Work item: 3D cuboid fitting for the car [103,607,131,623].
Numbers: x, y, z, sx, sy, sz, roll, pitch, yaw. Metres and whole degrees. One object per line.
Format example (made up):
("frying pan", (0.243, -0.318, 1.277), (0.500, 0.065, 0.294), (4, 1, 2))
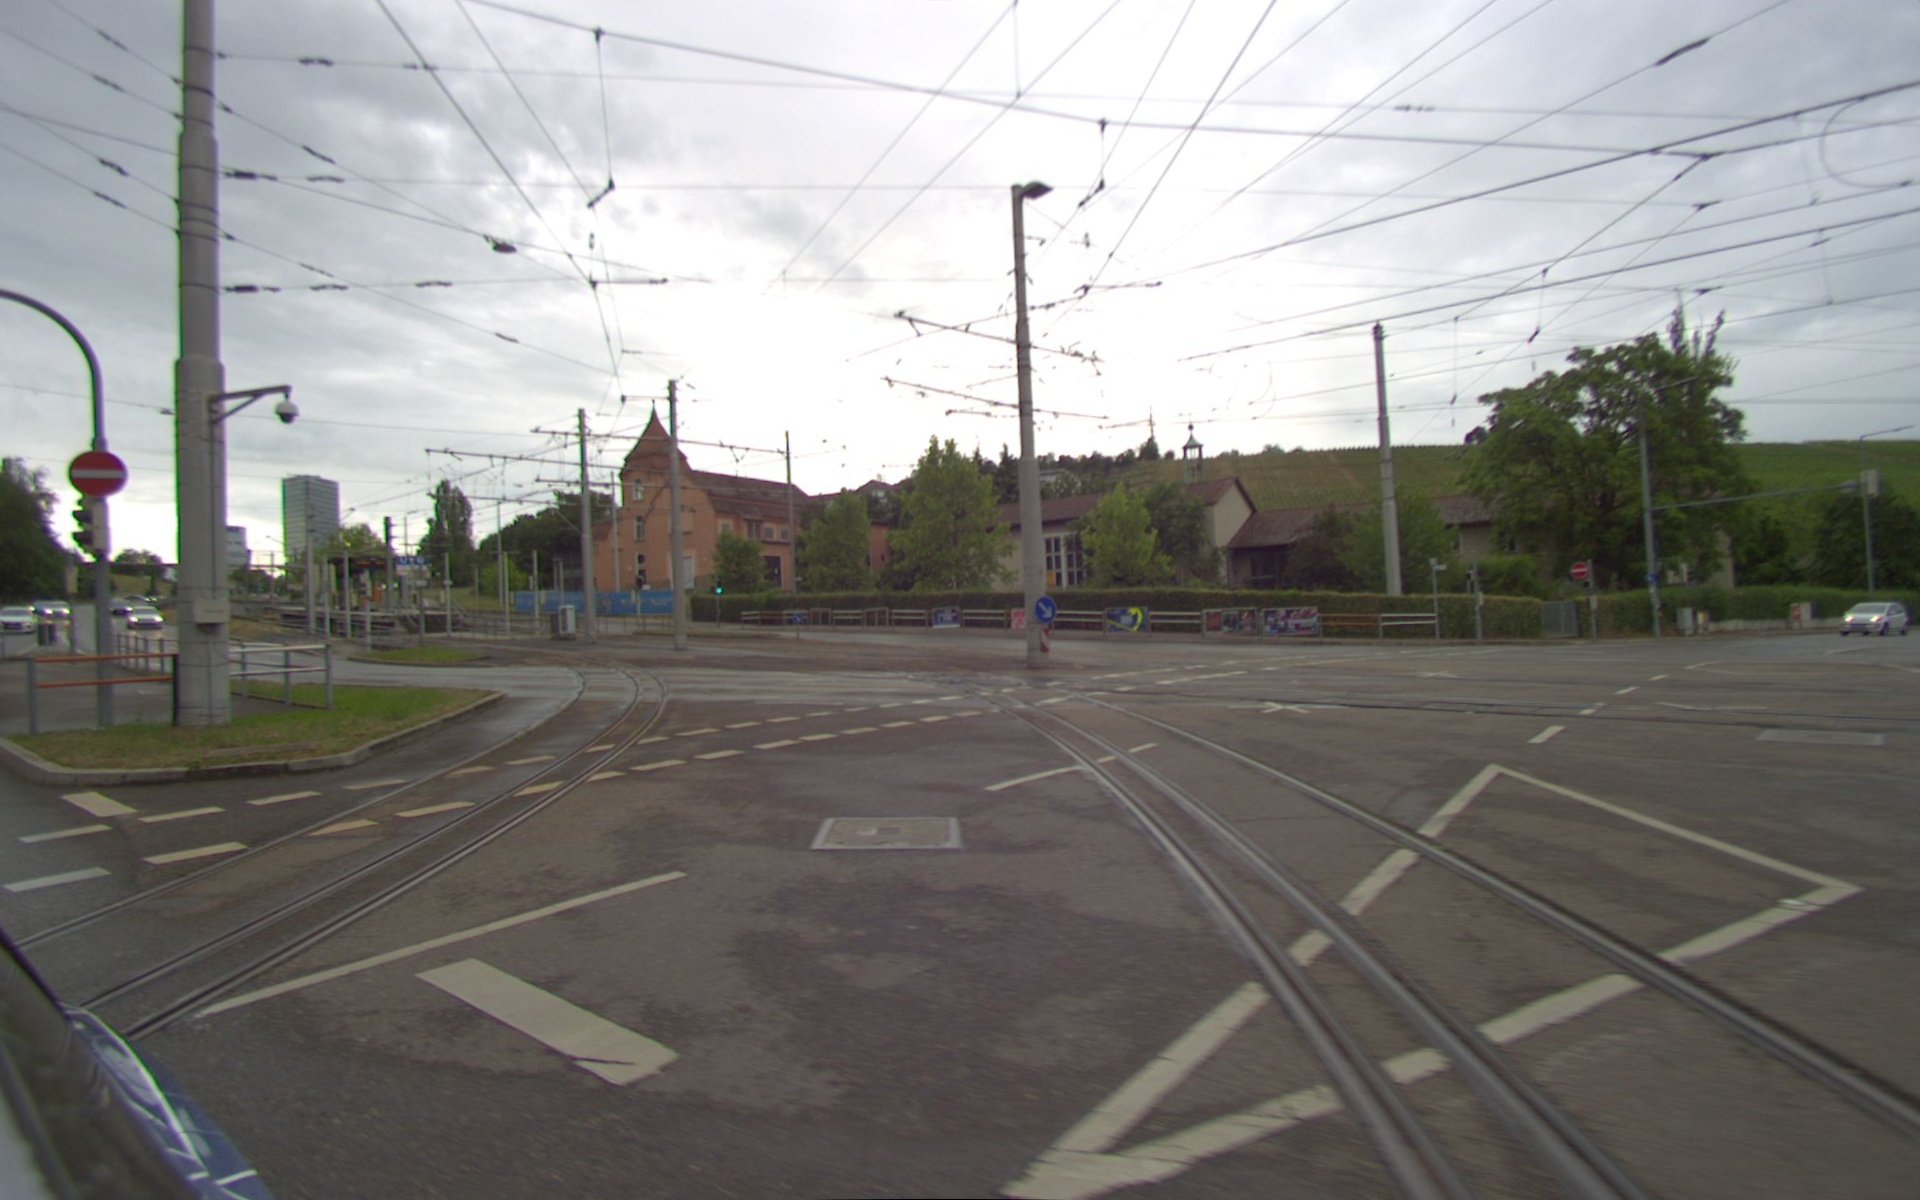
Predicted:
("car", (-80.399, 1.426, 96.551), (1.776, 1.482, 4.003), (0, 0, -44))

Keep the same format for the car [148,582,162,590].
("car", (-150.975, -2.570, 189.830), (1.773, 1.482, 4.009), (0, 0, -36))

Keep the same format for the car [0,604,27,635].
("car", (-53.914, 1.097, 56.997), (1.712, 1.599, 4.008), (0, 1, -38))

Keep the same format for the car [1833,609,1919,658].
("car", (41.094, 1.446, 45.316), (3.933, 2.028, 2.006), (0, 2, -34))

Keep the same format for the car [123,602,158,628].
("car", (-53.981, 0.965, 66.708), (1.712, 1.599, 4.008), (0, 1, -38))

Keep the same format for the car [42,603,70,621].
("car", (-78.586, 1.033, 87.990), (1.775, 1.482, 4.005), (0, 0, -42))
